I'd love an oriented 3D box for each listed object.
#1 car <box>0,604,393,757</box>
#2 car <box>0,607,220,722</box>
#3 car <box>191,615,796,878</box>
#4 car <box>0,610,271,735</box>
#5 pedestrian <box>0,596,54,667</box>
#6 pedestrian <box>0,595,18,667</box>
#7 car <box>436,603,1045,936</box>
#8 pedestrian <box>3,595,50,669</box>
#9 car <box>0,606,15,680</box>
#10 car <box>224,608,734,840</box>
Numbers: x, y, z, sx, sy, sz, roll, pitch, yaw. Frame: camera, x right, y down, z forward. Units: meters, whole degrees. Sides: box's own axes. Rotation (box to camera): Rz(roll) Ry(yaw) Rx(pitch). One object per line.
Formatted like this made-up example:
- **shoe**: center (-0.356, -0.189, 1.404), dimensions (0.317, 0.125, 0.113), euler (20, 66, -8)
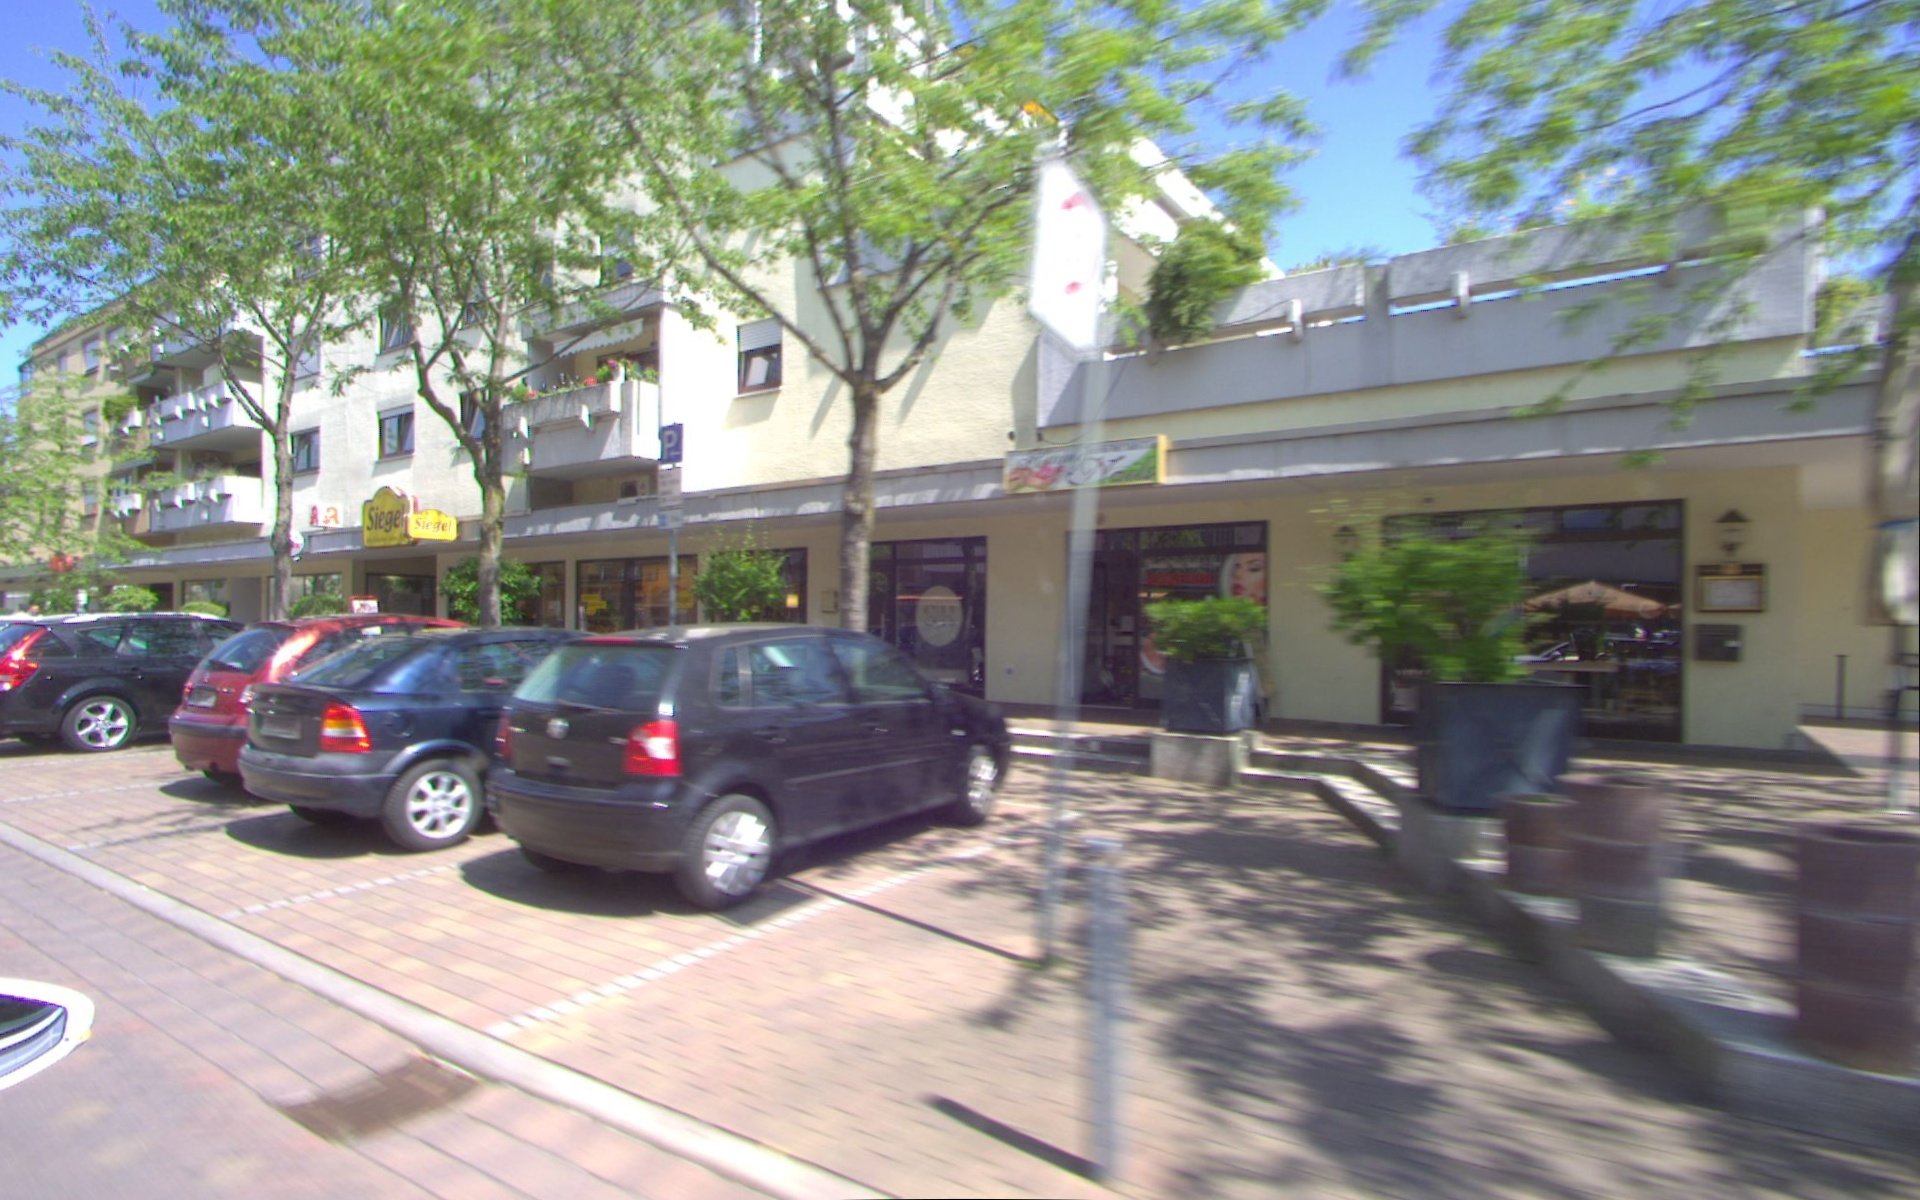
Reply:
- **car**: center (-9.649, 0.867, 12.426), dimensions (1.917, 1.561, 4.177), euler (0, -1, 30)
- **car**: center (-13.774, 0.911, 14.884), dimensions (1.735, 1.594, 4.141), euler (1, -1, 36)
- **car**: center (-3.360, 0.882, 7.998), dimensions (1.759, 1.450, 4.087), euler (1, 0, 34)
- **car**: center (-11.689, 0.901, 13.273), dimensions (1.695, 1.509, 3.921), euler (0, -1, 39)
- **pedestrian**: center (-24.400, 0.823, 26.168), dimensions (0.794, 1.810, 0.837), euler (1, 0, 28)
- **pedestrian**: center (-24.384, 0.763, 25.138), dimensions (0.794, 1.810, 0.837), euler (1, 0, 28)
- **car**: center (-1.118, 0.812, 6.739), dimensions (1.747, 1.529, 3.950), euler (0, -1, 33)
- **pedestrian**: center (-23.257, 0.786, 24.955), dimensions (0.832, 1.810, 0.799), euler (1, 0, -43)
- **car**: center (-22.916, 0.914, 21.036), dimensions (1.536, 1.636, 4.235), euler (0, -1, 33)
- **car**: center (-3.986, 0.863, 8.856), dimensions (1.741, 1.555, 3.713), euler (0, 0, 34)
